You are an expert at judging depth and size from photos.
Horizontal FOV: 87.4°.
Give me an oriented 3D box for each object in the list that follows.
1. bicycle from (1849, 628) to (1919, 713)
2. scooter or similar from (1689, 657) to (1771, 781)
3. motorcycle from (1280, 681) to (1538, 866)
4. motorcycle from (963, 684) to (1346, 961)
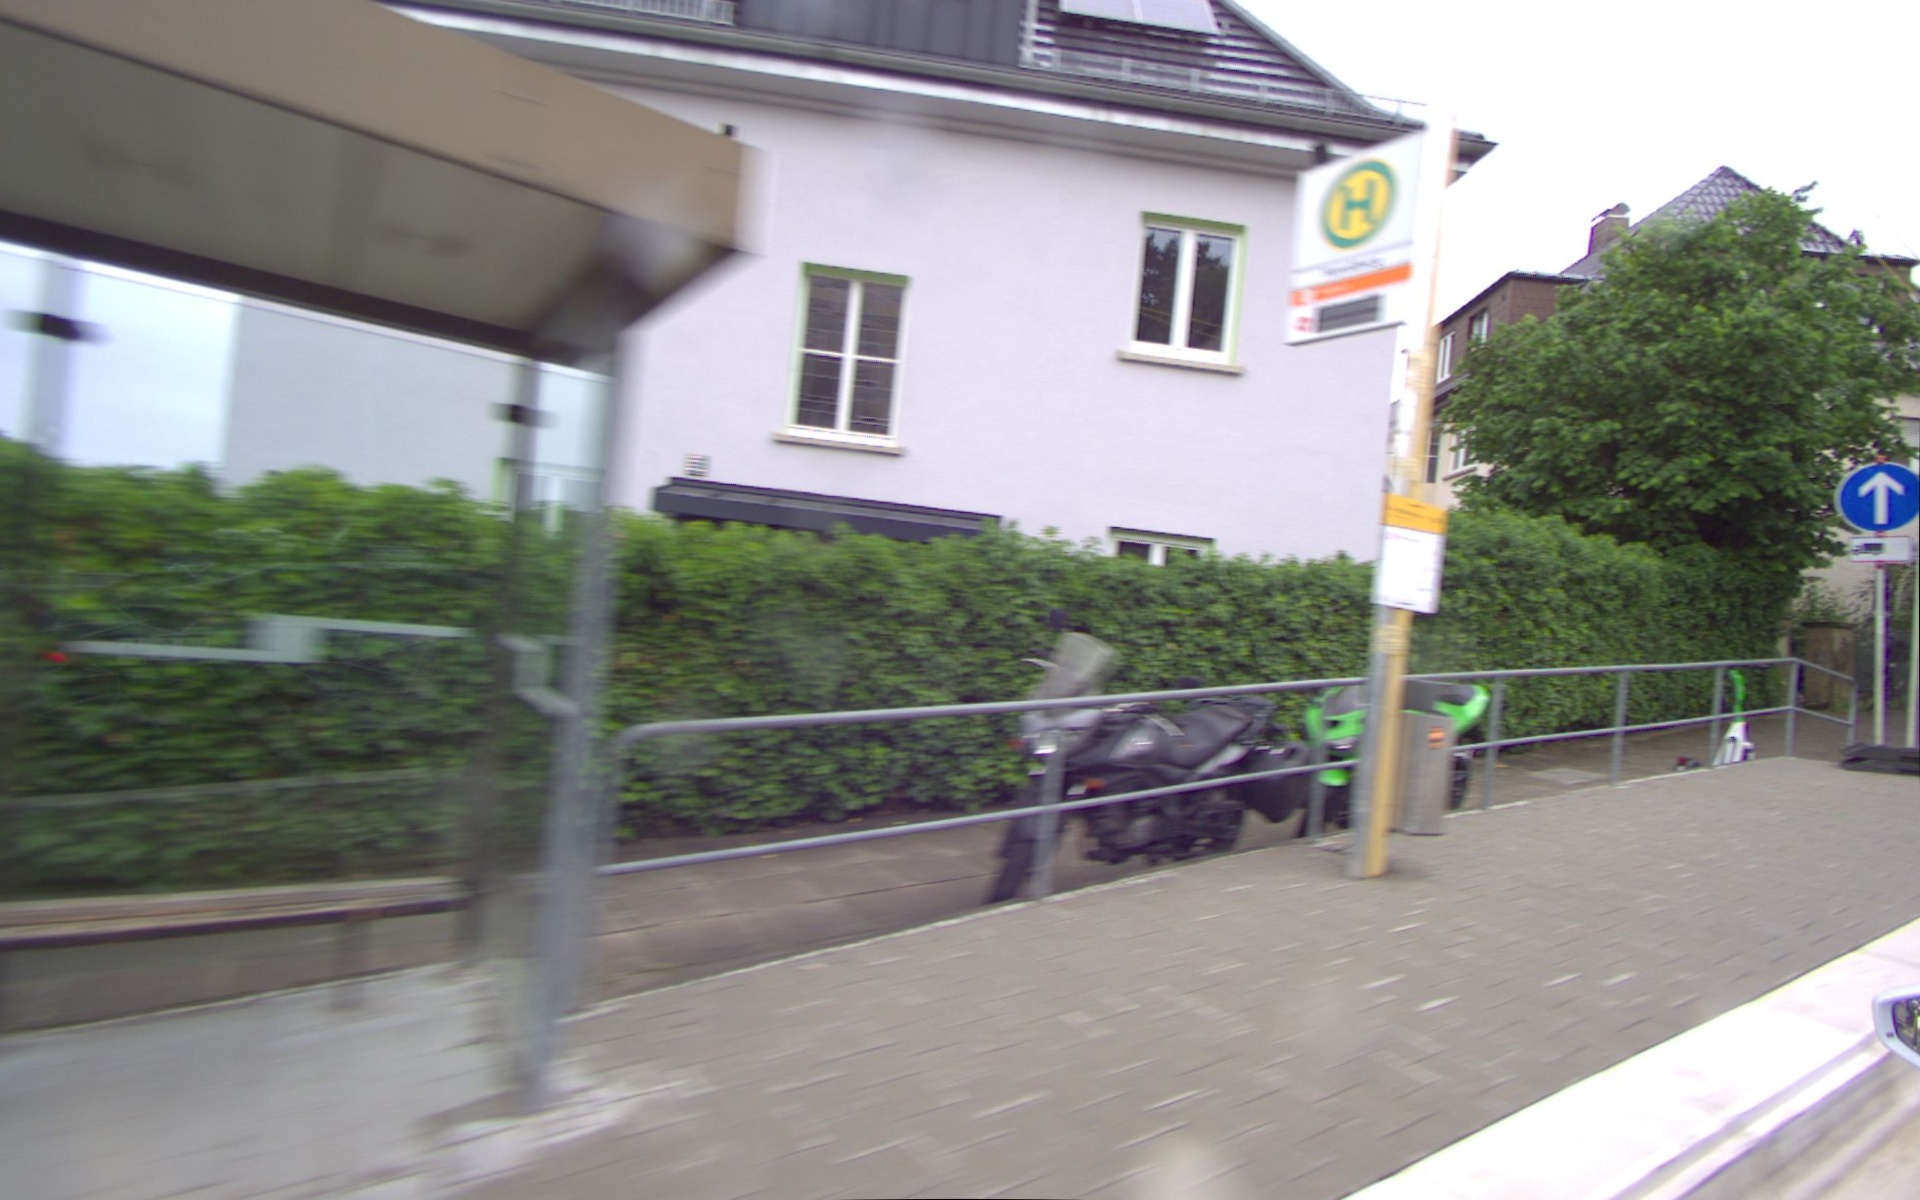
[{"bbox_3d":[15.450,1.127,16.521,2.246,1.289,0.488,1,3,-31],"label":"bicycle"},{"bbox_3d":[7.314,1.100,9.530,1.085,1.095,0.321,2,-1,-36],"label":"scooter or similar"},{"bbox_3d":[2.995,1.062,6.605,1.991,0.946,0.662,1,0,-37],"label":"motorcycle"},{"bbox_3d":[1.068,1.015,5.146,2.132,1.050,0.662,1,0,-37],"label":"motorcycle"}]
